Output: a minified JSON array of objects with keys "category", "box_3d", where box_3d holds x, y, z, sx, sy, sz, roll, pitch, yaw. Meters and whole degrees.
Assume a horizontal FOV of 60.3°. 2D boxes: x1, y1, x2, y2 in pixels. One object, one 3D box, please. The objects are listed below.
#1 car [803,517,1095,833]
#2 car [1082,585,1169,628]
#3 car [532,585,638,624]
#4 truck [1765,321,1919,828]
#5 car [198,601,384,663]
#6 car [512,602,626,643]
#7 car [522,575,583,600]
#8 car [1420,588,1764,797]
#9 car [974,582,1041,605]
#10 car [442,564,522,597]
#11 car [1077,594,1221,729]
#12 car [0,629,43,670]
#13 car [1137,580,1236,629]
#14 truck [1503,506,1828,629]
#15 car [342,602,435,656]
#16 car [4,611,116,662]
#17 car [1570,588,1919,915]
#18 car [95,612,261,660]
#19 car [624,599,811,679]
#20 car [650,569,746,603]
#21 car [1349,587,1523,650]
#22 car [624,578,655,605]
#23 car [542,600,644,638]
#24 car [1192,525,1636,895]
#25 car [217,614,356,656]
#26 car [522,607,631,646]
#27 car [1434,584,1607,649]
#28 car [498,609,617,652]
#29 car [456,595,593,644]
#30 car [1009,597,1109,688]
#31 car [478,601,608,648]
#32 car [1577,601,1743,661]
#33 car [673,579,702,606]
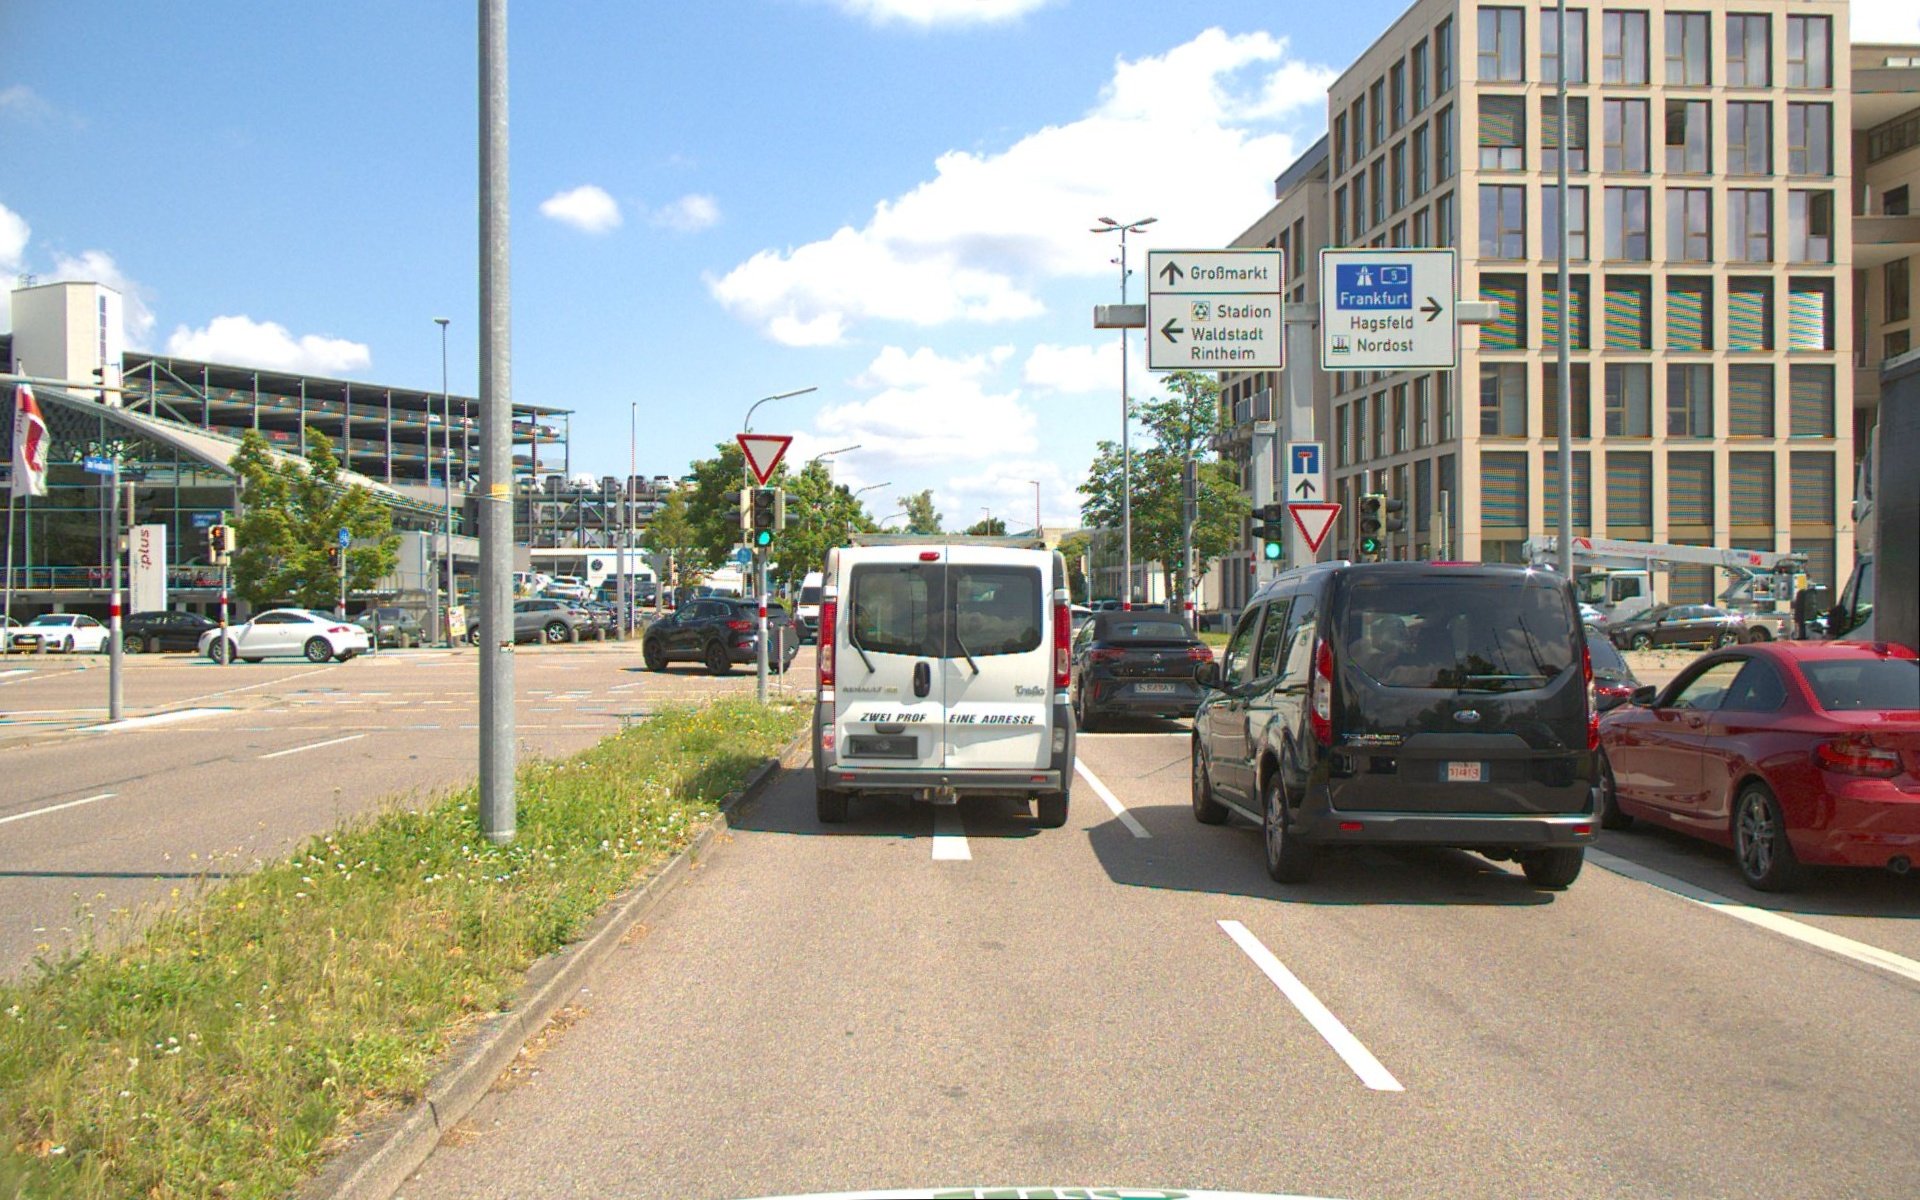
[{"category":"car","box_3d":[-0.107,0.522,13.297,1.933,2.096,4.563,0,-1,-1]},{"category":"car","box_3d":[8.218,0.349,82.298,3.913,2.049,1.996,1,-1,-9]},{"category":"car","box_3d":[-17.321,0.233,76.526,4.484,1.707,1.905,1,-1,-4]},{"category":"truck","box_3d":[9.200,-0.205,12.448,3.143,4.098,9.077,1,-1,9]},{"category":"car","box_3d":[-16.825,0.811,41.697,3.903,1.467,1.862,1,-1,5]},{"category":"car","box_3d":[-16.790,0.960,71.163,4.484,1.707,1.906,0,0,-4]},{"category":"car","box_3d":[-27.438,-0.815,111.486,3.918,1.579,1.759,1,-1,-13]},{"category":"car","box_3d":[6.140,0.815,16.643,1.821,1.684,4.220,5,0,1]},{"category":"car","box_3d":[4.497,-0.594,158.588,6.214,2.049,2.571,1,-1,-3]},{"category":"car","box_3d":[-28.585,-1.146,98.997,4.356,1.833,1.762,1,-1,-7]},{"category":"car","box_3d":[2.476,0.780,22.487,1.736,1.658,4.002,0,-1,3]},{"category":"car","box_3d":[-32.191,1.618,54.328,1.864,1.320,4.584,1,-1,-5]},{"category":"car","box_3d":[9.909,0.233,72.444,3.913,2.049,1.996,1,-1,-9]},{"category":"truck","box_3d":[22.413,-0.953,52.684,9.568,3.617,2.670,1,-1,-8]},{"category":"car","box_3d":[-19.149,0.961,55.582,1.864,1.707,4.584,1,-1,-5]},{"category":"car","box_3d":[-29.474,1.224,54.270,1.755,1.490,3.994,-1,-3,-5]},{"category":"car","box_3d":[5.564,0.838,10.654,1.820,1.684,4.219,1,-1,2]},{"category":"car","box_3d":[-26.117,1.208,55.335,4.649,1.490,1.793,-1,-3,-6]},{"category":"car","box_3d":[-5.332,0.827,36.102,4.191,1.646,1.767,0,-2,41]},{"category":"car","box_3d":[-17.657,-0.920,111.549,6.264,2.139,1.763,1,-1,-6]},{"category":"car","box_3d":[14.887,0.595,51.831,4.883,1.870,1.996,1,-1,-9]},{"category":"car","box_3d":[-20.240,-0.511,104.527,1.531,1.579,3.597,1,-1,-6]},{"category":"car","box_3d":[-17.567,0.926,79.295,4.484,1.707,1.905,1,-1,-4]},{"category":"car","box_3d":[2.677,0.596,10.722,1.786,1.938,4.000,0,-1,0]},{"category":"car","box_3d":[-26.361,1.379,64.856,4.649,1.537,1.982,-1,-3,-6]},{"category":"car","box_3d":[-17.039,1.166,73.630,4.484,1.707,1.906,0,0,-4]},{"category":"car","box_3d":[15.276,0.466,45.141,4.119,1.655,1.824,1,-1,-9]},{"category":"car","box_3d":[-16.685,1.258,68.726,4.484,1.707,1.905,1,-1,-4]},{"category":"car","box_3d":[-15.848,0.716,60.361,4.484,1.707,1.905,1,-1,-4]},{"category":"car","box_3d":[1.893,0.803,32.560,1.737,1.658,4.000,0,-1,0]},{"category":"car","box_3d":[-15.785,0.941,62.795,4.484,1.707,1.905,1,-1,-4]},{"category":"car","box_3d":[20.535,0.908,48.630,4.113,1.655,1.827,1,-1,-2]},{"category":"car","box_3d":[-17.128,-0.451,104.020,1.531,1.579,3.597,1,-1,-6]}]
